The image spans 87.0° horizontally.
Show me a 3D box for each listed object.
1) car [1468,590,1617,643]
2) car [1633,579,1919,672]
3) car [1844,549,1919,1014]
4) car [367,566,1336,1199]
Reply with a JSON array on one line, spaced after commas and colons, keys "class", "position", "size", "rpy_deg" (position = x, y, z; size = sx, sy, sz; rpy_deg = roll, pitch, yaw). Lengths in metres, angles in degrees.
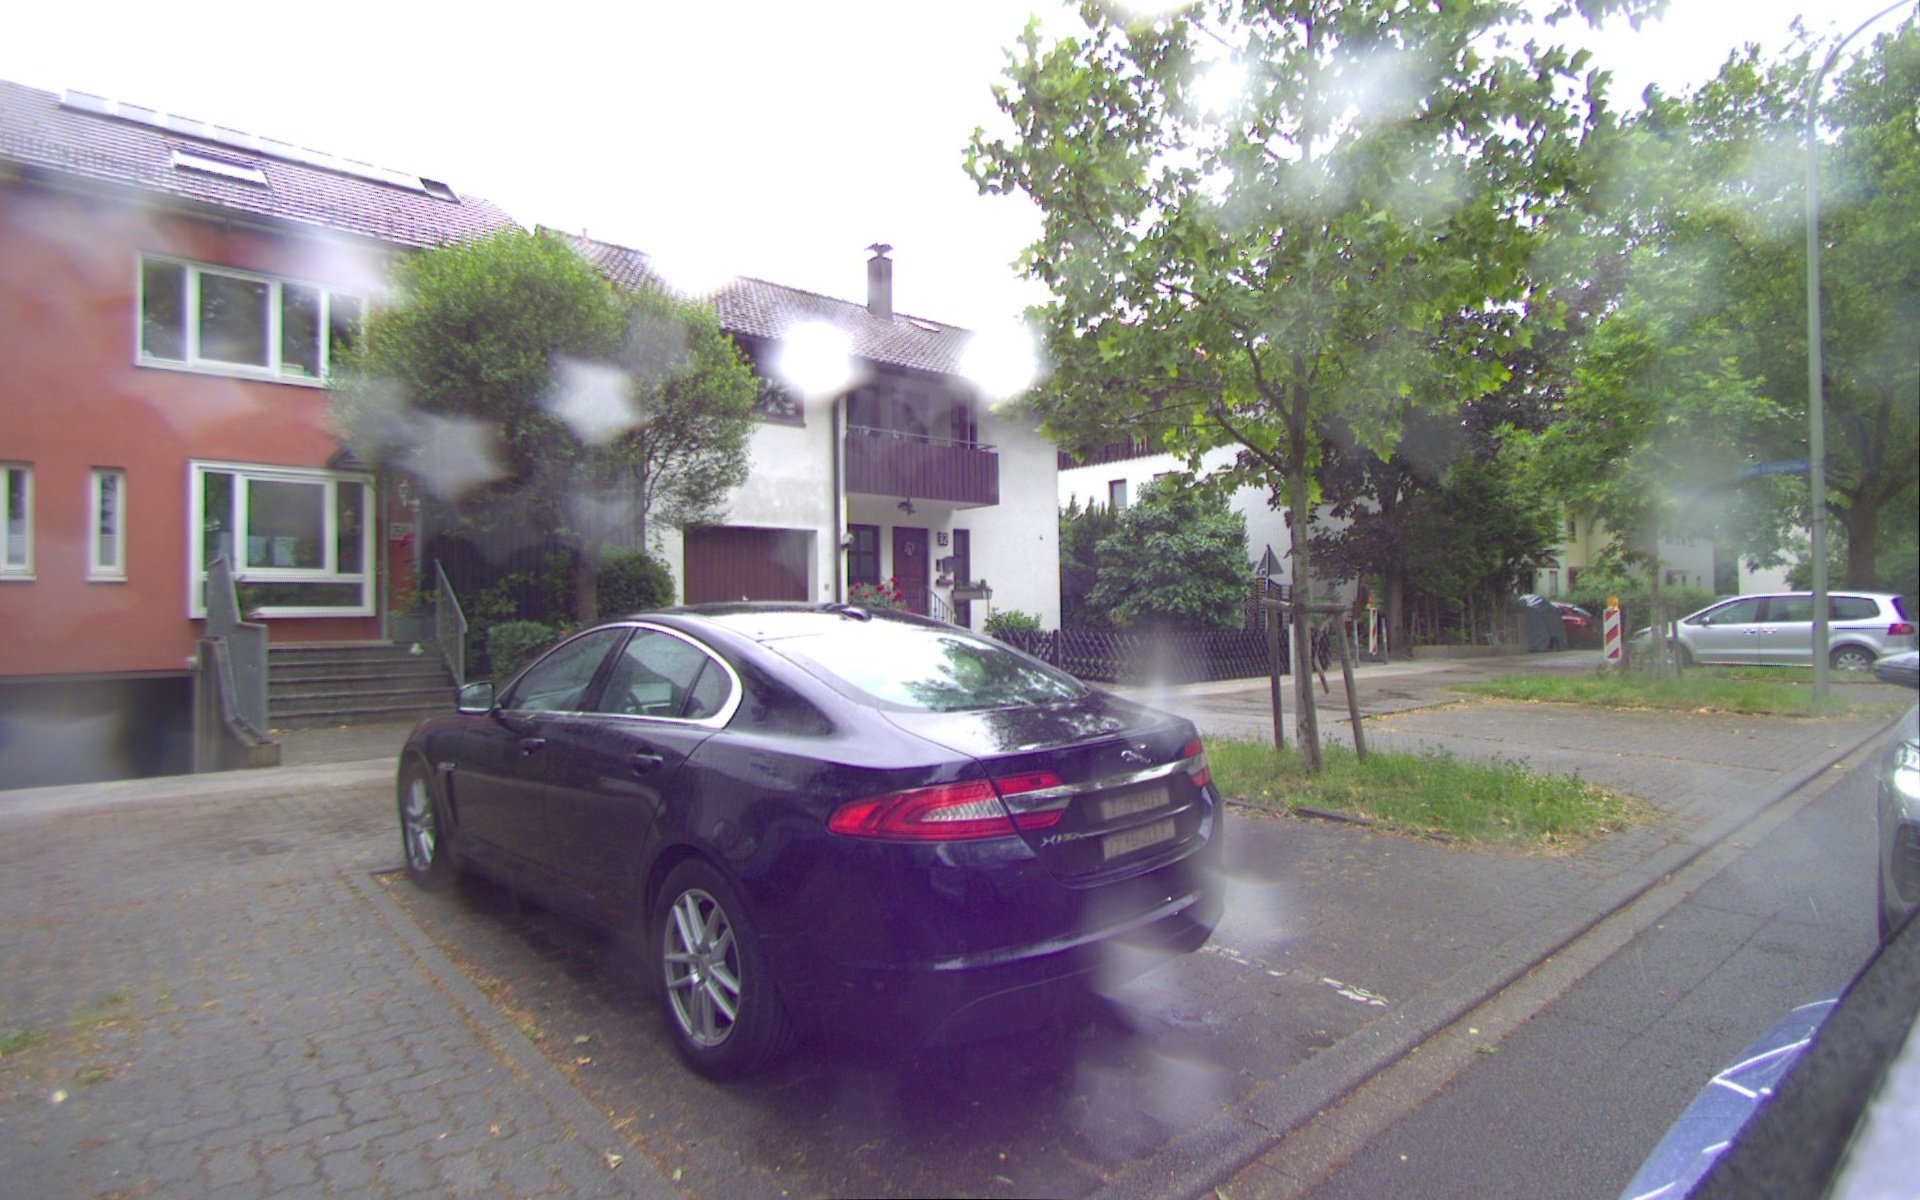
[{"class": "car", "position": [18.995, 0.513, 33.128], "size": [1.809, 1.633, 3.853], "rpy_deg": [0, 0, -39]}, {"class": "car", "position": [16.664, 0.475, 20.528], "size": [1.942, 1.682, 4.694], "rpy_deg": [0, 0, -42]}, {"class": "car", "position": [5.503, 0.641, 4.430], "size": [4.346, 1.638, 1.861], "rpy_deg": [0, 0, -41]}, {"class": "car", "position": [-0.987, 0.666, 4.659], "size": [1.906, 1.491, 4.768], "rpy_deg": [0, 0, -45]}]
